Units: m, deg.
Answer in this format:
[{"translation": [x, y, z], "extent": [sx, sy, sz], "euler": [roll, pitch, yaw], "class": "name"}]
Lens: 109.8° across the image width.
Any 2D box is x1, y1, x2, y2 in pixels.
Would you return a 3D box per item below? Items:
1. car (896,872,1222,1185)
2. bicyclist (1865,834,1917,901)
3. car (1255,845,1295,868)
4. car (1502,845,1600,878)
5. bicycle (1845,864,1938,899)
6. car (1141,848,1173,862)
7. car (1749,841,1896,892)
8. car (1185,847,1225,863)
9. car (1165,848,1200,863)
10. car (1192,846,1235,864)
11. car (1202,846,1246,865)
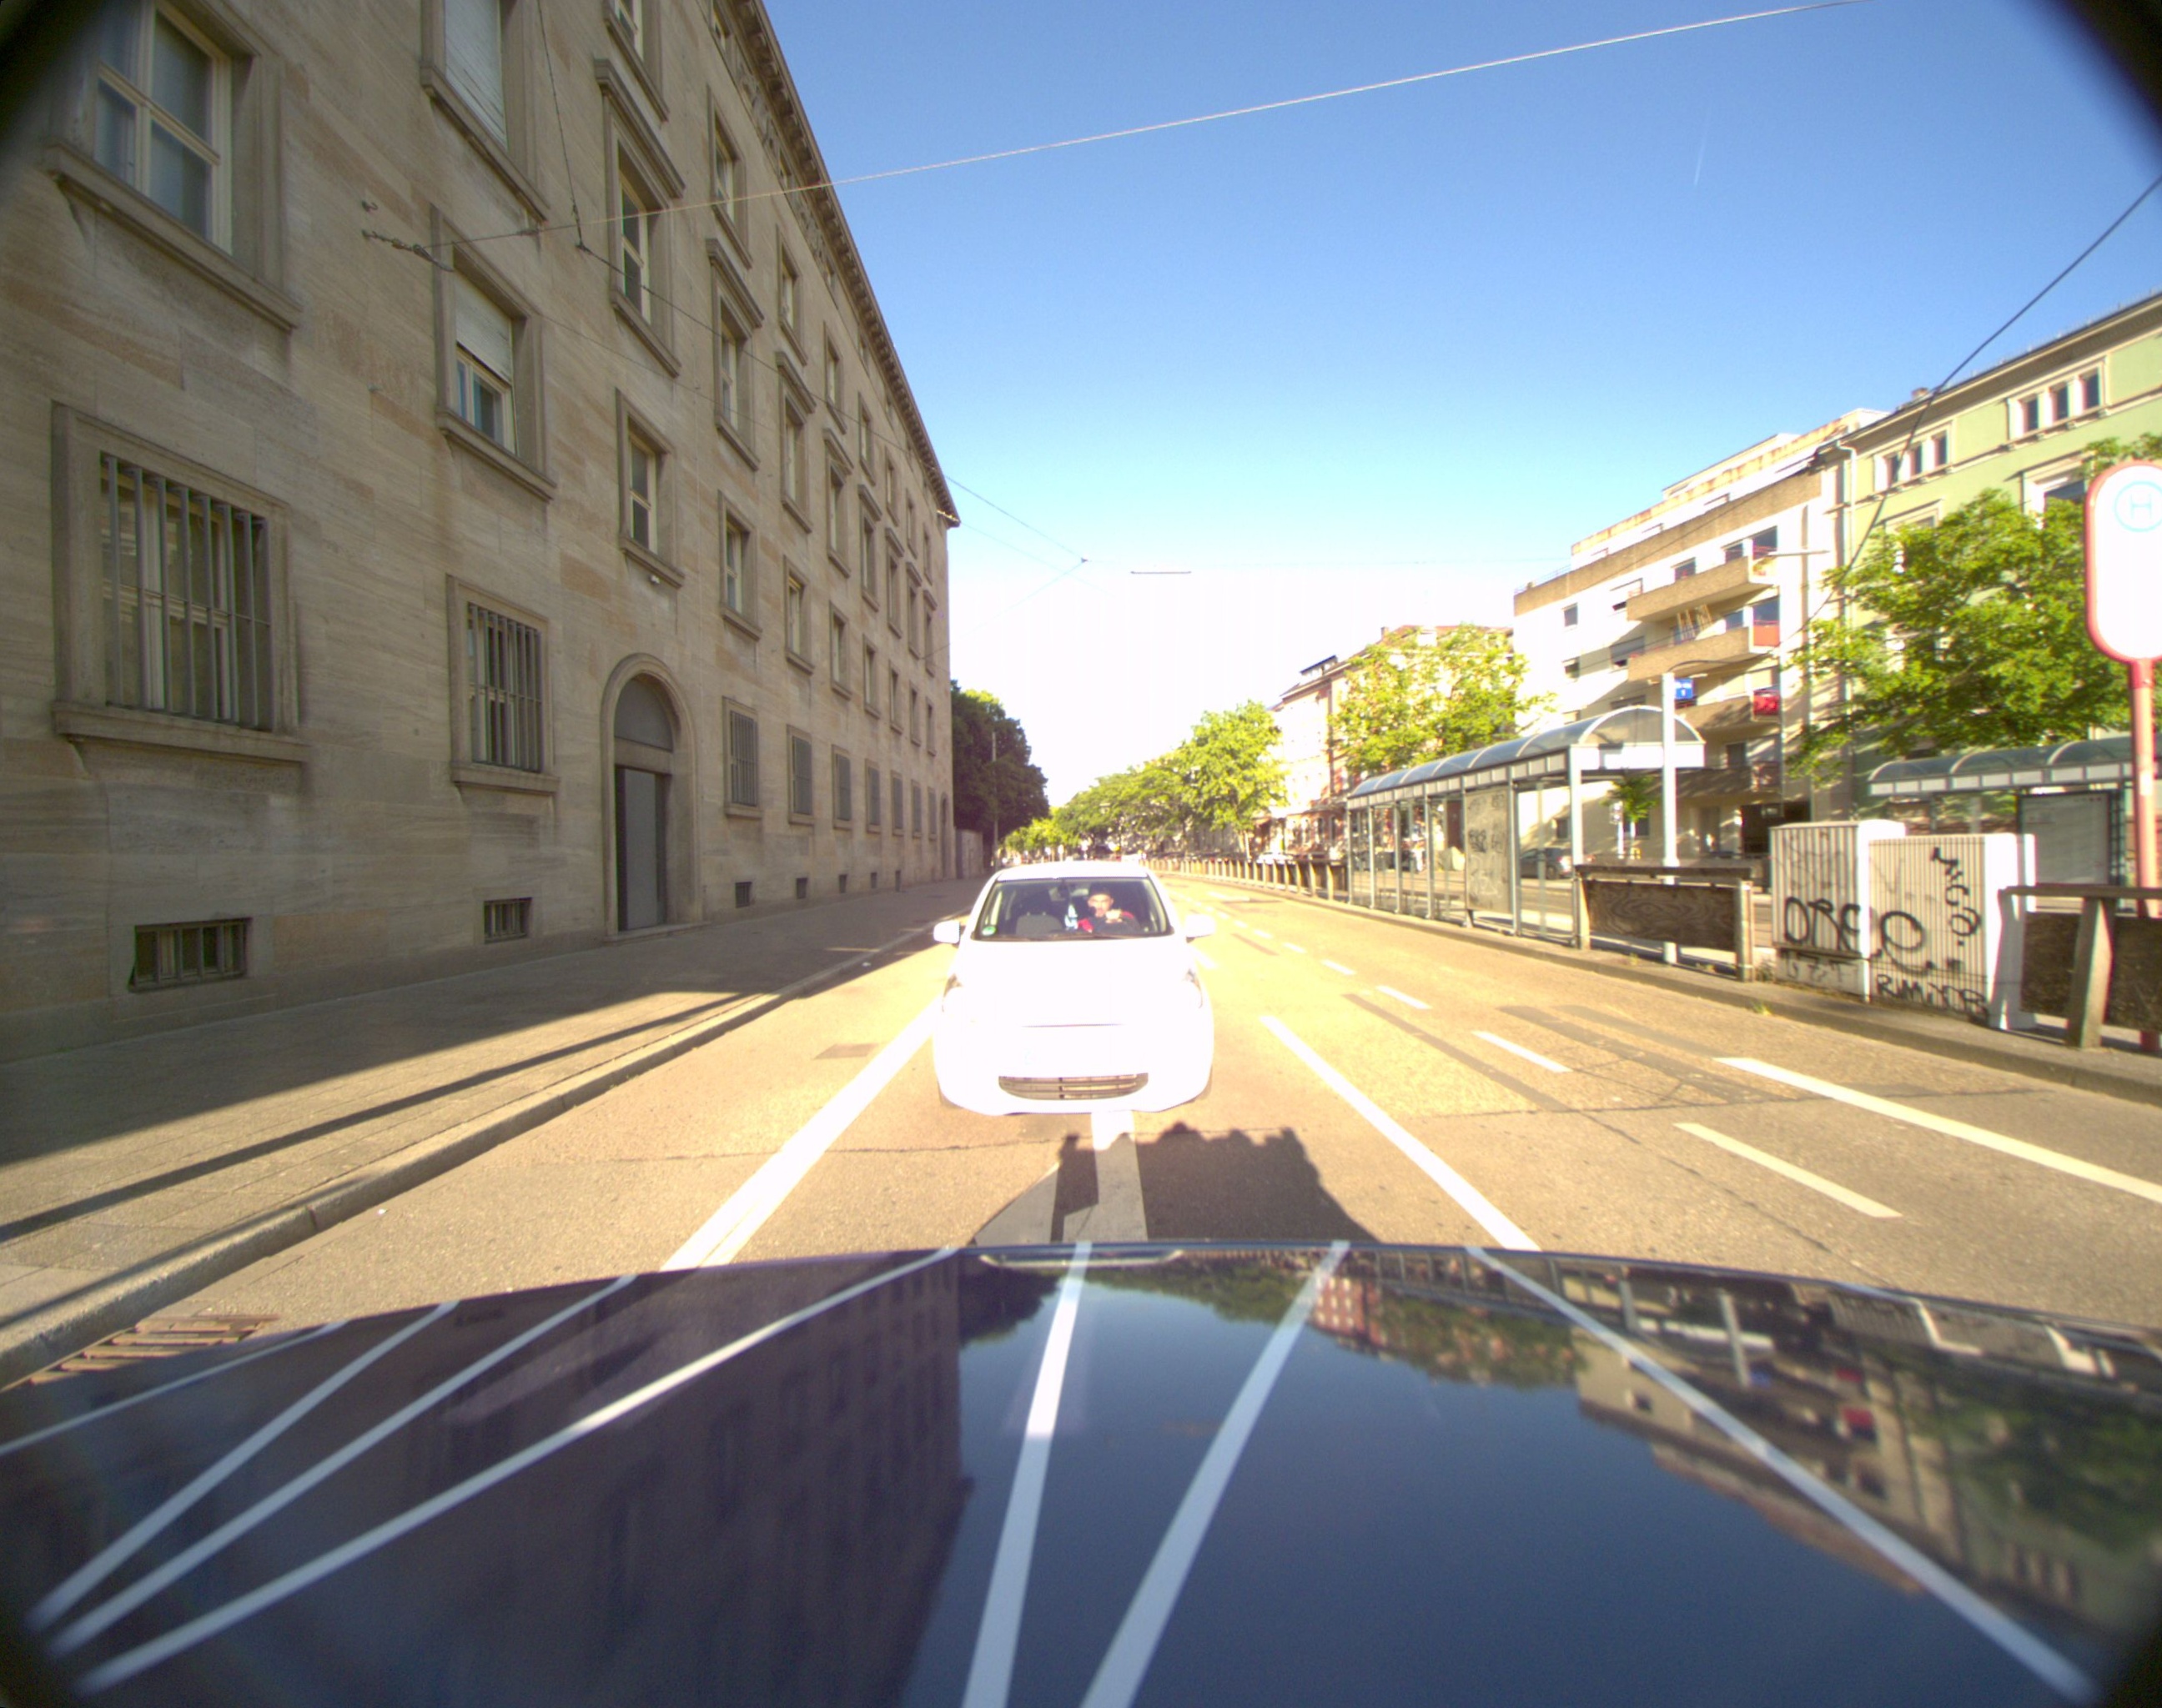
[{"translation": [-0.084, 0.924, 5.648], "extent": [1.612, 1.450, 3.667], "euler": [-1, 0, 1], "class": "car"}, {"translation": [21.749, 0.343, 20.415], "extent": [0.536, 1.751, 0.770], "euler": [-1, 3, 1], "class": "bicyclist"}, {"translation": [16.303, 0.162, 63.676], "extent": [1.994, 1.713, 4.007], "euler": [0, 2, 34], "class": "car"}, {"translation": [20.843, 0.316, 33.833], "extent": [1.615, 1.387, 3.516], "euler": [-1, 0, -19], "class": "car"}, {"translation": [21.751, 0.719, 20.451], "extent": [0.536, 0.783, 1.852], "euler": [-1, 2, 1], "class": "bicycle"}, {"translation": [9.564, 0.128, 95.715], "extent": [3.864, 1.583, 2.001], "euler": [-1, 0, 4], "class": "car"}, {"translation": [23.931, 0.370, 24.549], "extent": [3.796, 1.526, 1.772], "euler": [-1, 0, -17], "class": "car"}, {"translation": [13.157, 0.083, 80.529], "extent": [3.996, 1.674, 2.000], "euler": [-1, 0, 4], "class": "car"}, {"translation": [11.435, 0.143, 86.089], "extent": [3.864, 1.583, 2.001], "euler": [-1, 0, 5], "class": "car"}, {"translation": [13.349, 0.112, 76.725], "extent": [3.996, 1.674, 2.000], "euler": [-1, 0, 4], "class": "car"}, {"translation": [13.635, 0.127, 72.591], "extent": [3.996, 1.674, 2.000], "euler": [-1, 0, 4], "class": "car"}]
